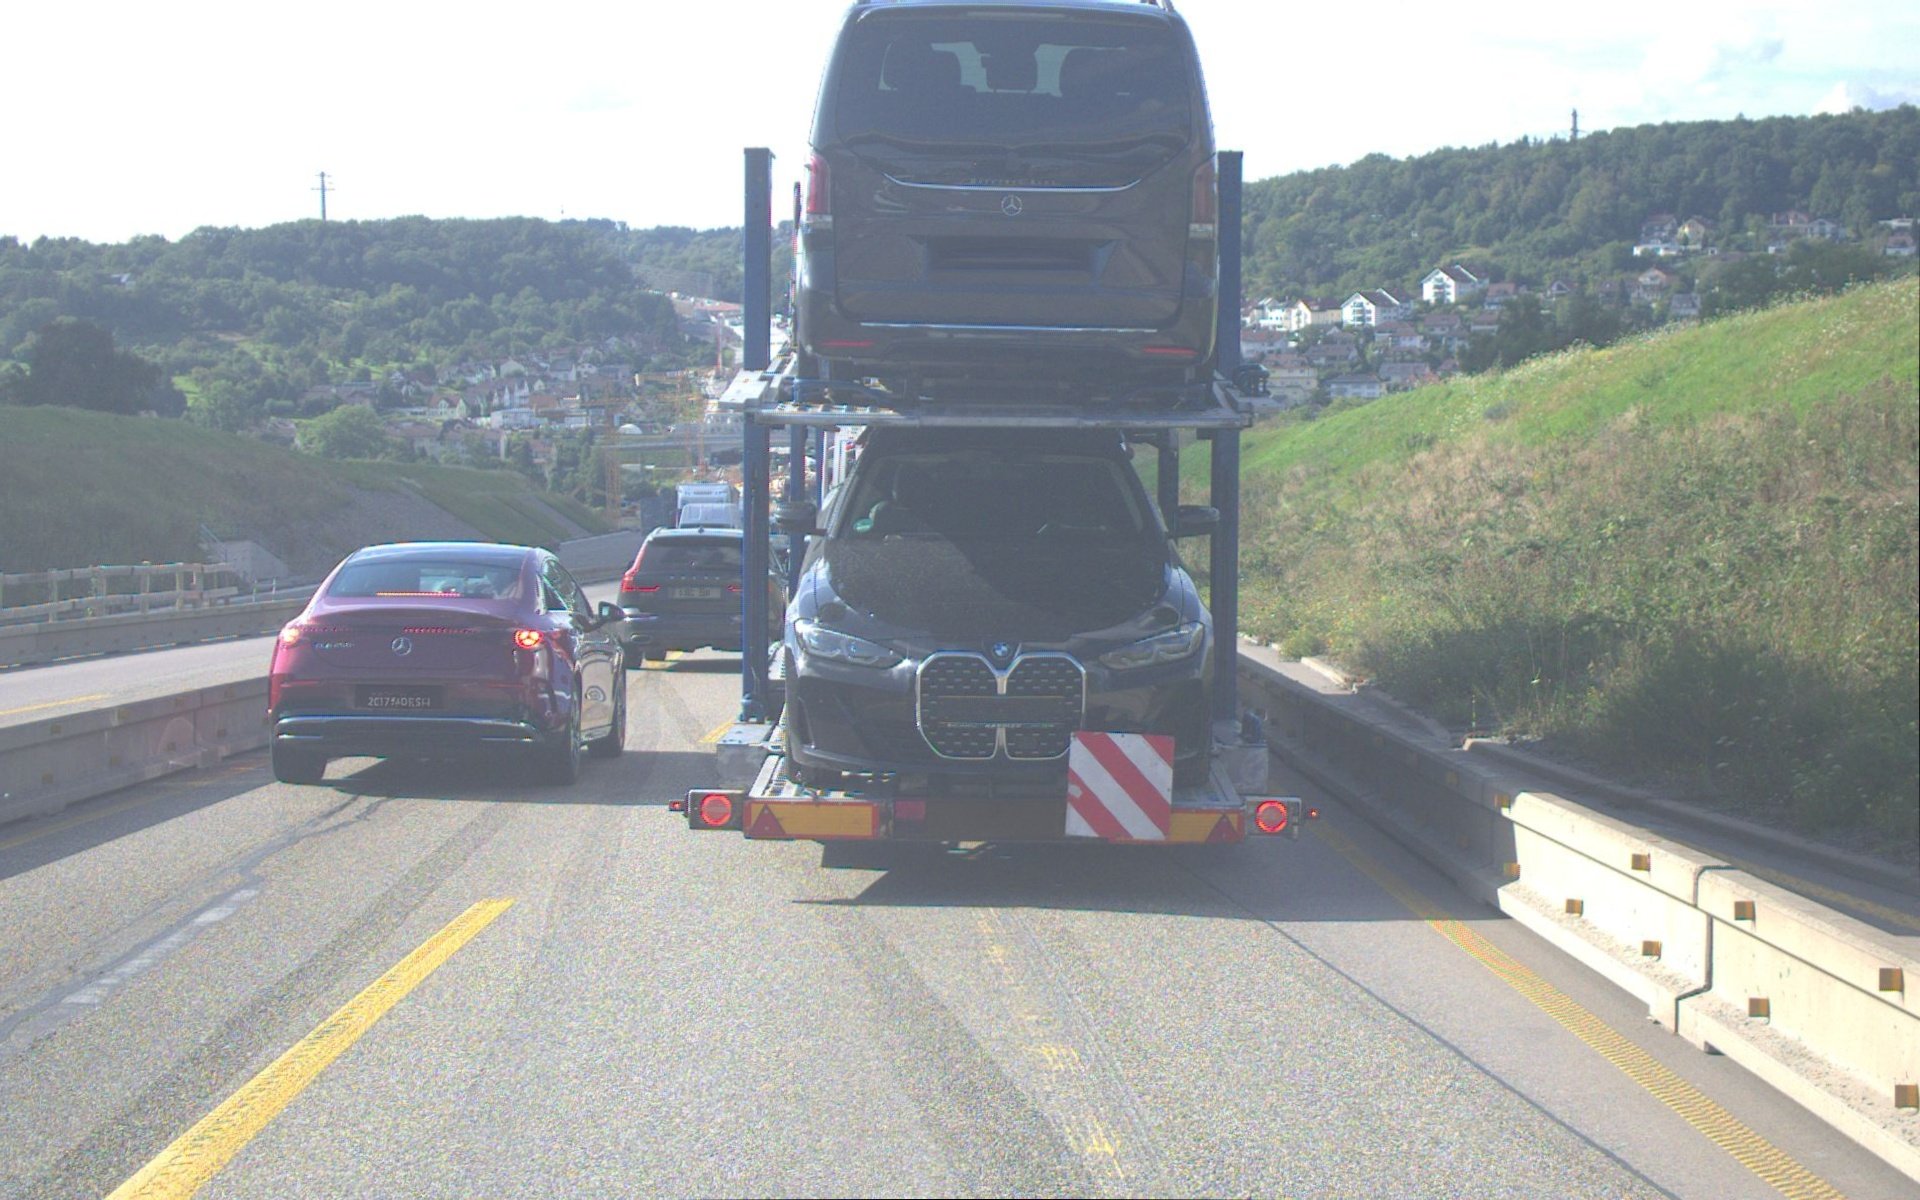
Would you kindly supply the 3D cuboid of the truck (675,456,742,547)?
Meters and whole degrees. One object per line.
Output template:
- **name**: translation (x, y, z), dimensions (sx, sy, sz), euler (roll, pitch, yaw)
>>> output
- **truck**: translation (-11.626, -4.531, 159.209), dimensions (2.614, 4.139, 5.781), euler (0, 1, 0)

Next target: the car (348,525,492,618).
- **car**: translation (-9.048, -0.490, 57.955), dimensions (1.734, 1.420, 4.628), euler (-3, 1, -1)

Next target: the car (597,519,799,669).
- **car**: translation (-3.034, -0.124, 40.738), dimensions (1.993, 1.619, 4.750), euler (1, 1, 0)

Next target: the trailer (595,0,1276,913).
- **trailer**: translation (-0.072, -0.879, 19.457), dimensions (2.708, 4.015, 11.420), euler (0, 1, 0)

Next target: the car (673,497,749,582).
- **car**: translation (-8.762, -2.140, 121.523), dimensions (2.110, 2.826, 6.139), euler (-3, 1, 0)

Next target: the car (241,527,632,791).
- **car**: translation (-3.231, 0.291, 22.093), dimensions (1.823, 1.487, 4.685), euler (1, 1, -1)

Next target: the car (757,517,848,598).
- **car**: translation (-3.234, -0.890, 70.723), dimensions (1.796, 1.591, 4.743), euler (-1, 1, -3)

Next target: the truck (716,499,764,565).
- **truck**: translation (-13.945, -4.324, 218.240), dimensions (2.638, 4.085, 10.819), euler (0, 1, -2)

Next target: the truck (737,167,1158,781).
- **truck**: translation (-0.086, -0.866, 24.985), dimensions (2.678, 3.908, 6.028), euler (0, 1, 0)
